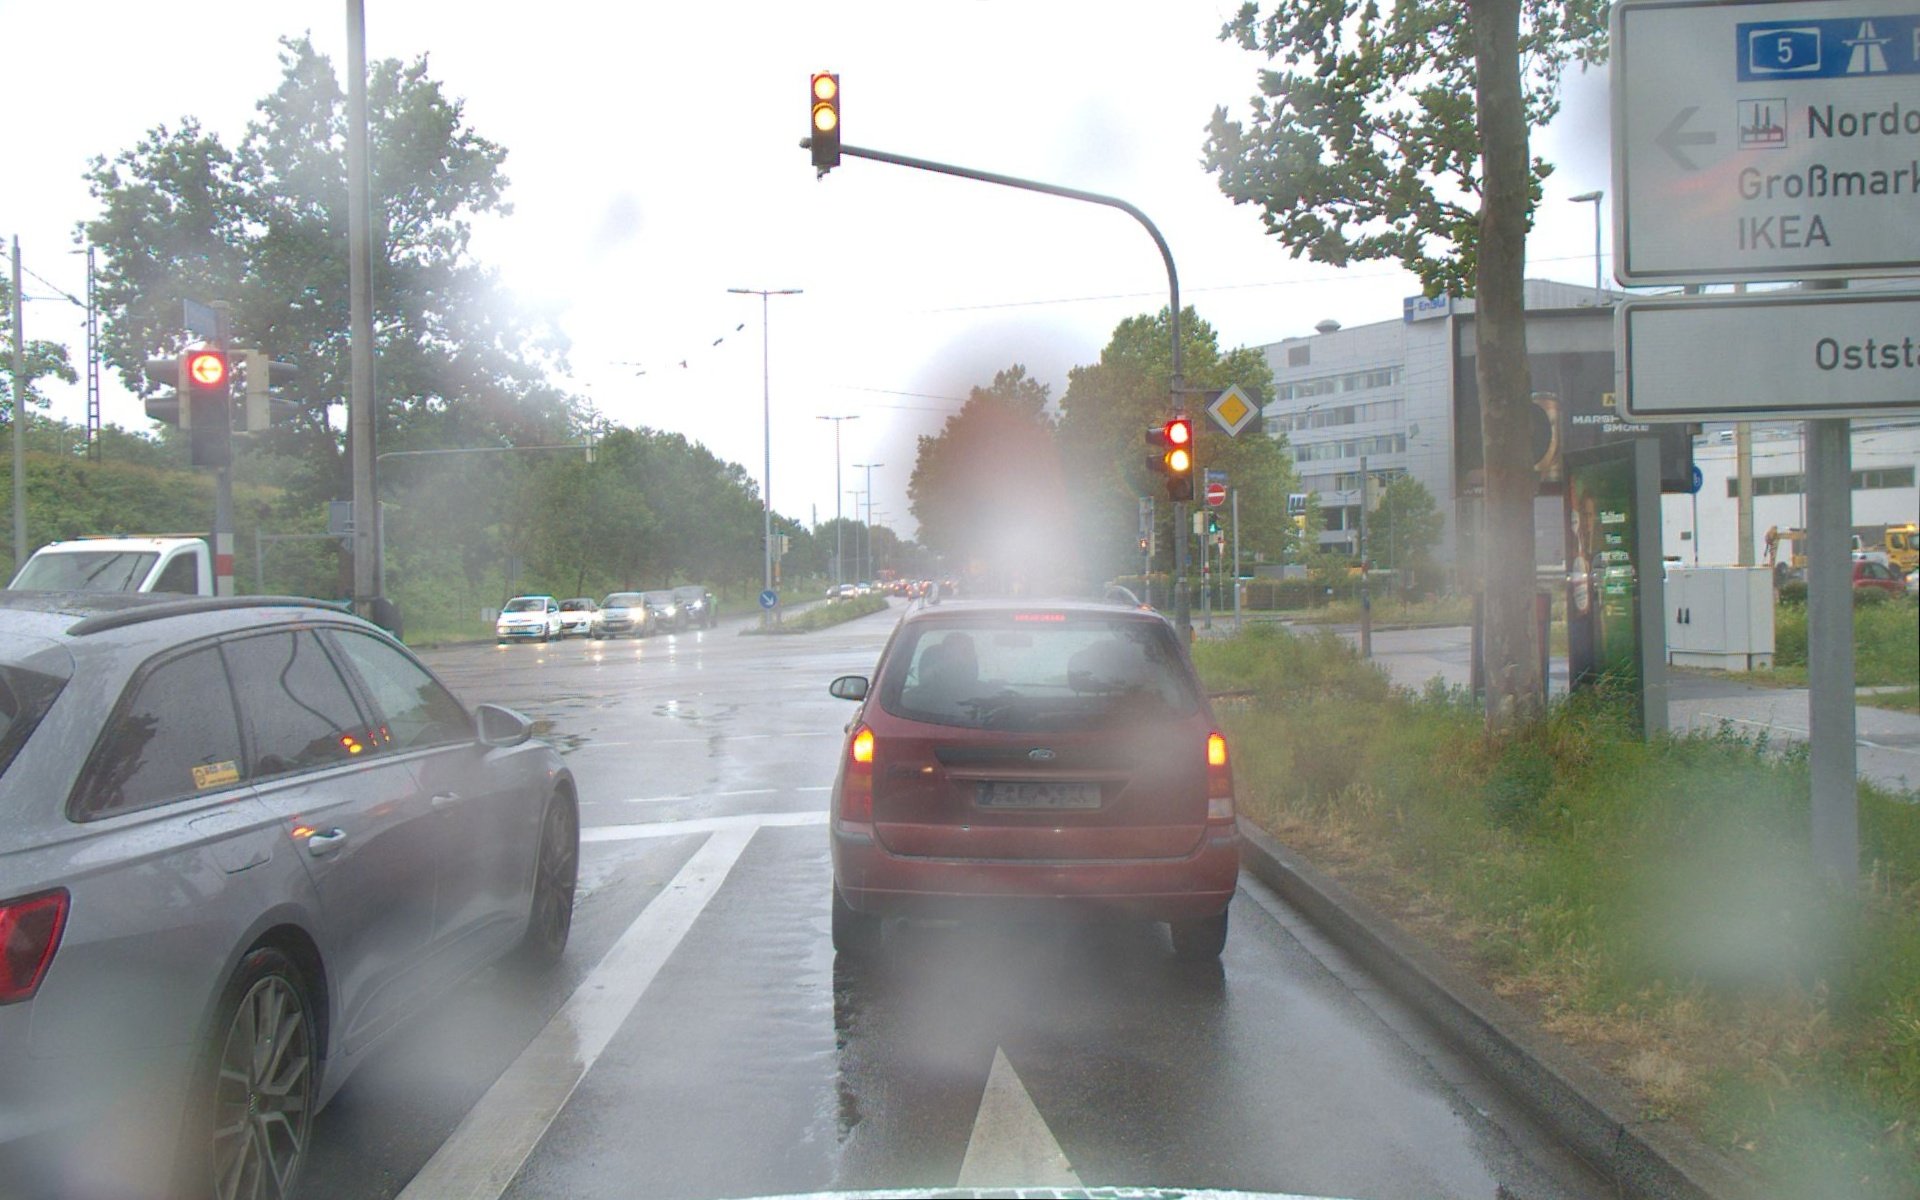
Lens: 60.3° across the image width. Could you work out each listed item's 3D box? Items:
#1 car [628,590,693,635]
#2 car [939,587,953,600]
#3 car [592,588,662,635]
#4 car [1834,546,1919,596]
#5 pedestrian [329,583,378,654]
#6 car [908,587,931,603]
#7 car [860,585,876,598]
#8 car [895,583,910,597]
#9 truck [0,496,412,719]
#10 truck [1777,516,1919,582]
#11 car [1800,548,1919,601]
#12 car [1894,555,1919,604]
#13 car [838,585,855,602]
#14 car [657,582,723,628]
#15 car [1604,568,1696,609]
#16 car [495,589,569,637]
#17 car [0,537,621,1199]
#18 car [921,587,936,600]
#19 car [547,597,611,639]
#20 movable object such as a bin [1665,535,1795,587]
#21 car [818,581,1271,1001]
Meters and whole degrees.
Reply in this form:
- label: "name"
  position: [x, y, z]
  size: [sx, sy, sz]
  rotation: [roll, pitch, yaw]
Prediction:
- label: "car"
  position: [-11.351, 0.466, 62.911]
  size: [1.727, 1.614, 4.811]
  rotation: [-2, 0, -2]
- label: "car"
  position: [-1.644, -0.763, 196.701]
  size: [1.636, 1.554, 3.846]
  rotation: [-1, 0, 1]
- label: "car"
  position: [-11.227, 0.363, 55.995]
  size: [1.605, 1.499, 3.964]
  rotation: [-2, 1, -1]
- label: "car"
  position: [41.476, -1.330, 74.576]
  size: [4.641, 2.162, 1.973]
  rotation: [-1, 0, -38]
- label: "pedestrian"
  position: [-16.651, 0.503, 45.457]
  size: [1.083, 1.879, 1.127]
  rotation: [-1, 0, -13]
- label: "car"
  position: [-4.181, -0.542, 171.769]
  size: [2.103, 1.554, 4.193]
  rotation: [-1, 0, 1]
- label: "car"
  position: [-12.266, -1.167, 220.394]
  size: [1.923, 1.732, 4.283]
  rotation: [-2, 1, -1]
- label: "car"
  position: [-7.069, -1.231, 202.573]
  size: [1.663, 1.554, 3.846]
  rotation: [-1, 0, 1]
- label: "truck"
  position: [-10.005, 0.068, 21.537]
  size: [2.421, 2.406, 6.874]
  rotation: [-1, 0, 10]
- label: "truck"
  position: [52.808, -2.955, 97.375]
  size: [3.291, 3.568, 7.789]
  rotation: [-2, 0, -36]
- label: "car"
  position: [26.526, -0.735, 48.573]
  size: [3.768, 1.517, 1.660]
  rotation: [0, 0, -33]
- label: "car"
  position: [32.086, -0.695, 52.978]
  size: [4.774, 1.517, 1.904]
  rotation: [-1, 0, -35]
- label: "car"
  position: [-12.285, -0.761, 178.981]
  size: [1.709, 1.732, 4.280]
  rotation: [-3, 1, -4]
- label: "car"
  position: [-11.579, 0.181, 71.274]
  size: [2.024, 1.851, 5.539]
  rotation: [-2, 1, -2]
- label: "car"
  position: [30.265, -0.515, 72.516]
  size: [4.190, 1.756, 1.722]
  rotation: [0, 0, -33]
- label: "car"
  position: [-14.162, 0.394, 54.846]
  size: [1.605, 1.478, 3.785]
  rotation: [-2, 1, -3]
- label: "car"
  position: [-2.302, 0.668, 4.857]
  size: [1.733, 1.601, 4.819]
  rotation: [1, 0, -2]
- label: "car"
  position: [-3.699, -0.762, 194.104]
  size: [1.663, 1.554, 3.846]
  rotation: [-1, 0, 0]
- label: "car"
  position: [-14.063, 0.628, 61.234]
  size: [1.558, 1.428, 3.822]
  rotation: [-2, 1, -2]
- label: "movable object such as a bin"
  position: [48.356, -2.429, 103.987]
  size: [3.292, 3.048, 6.634]
  rotation: [-2, 0, -36]
- label: "car"
  position: [0.252, 0.673, 7.817]
  size: [1.609, 1.490, 3.731]
  rotation: [1, 0, -2]
